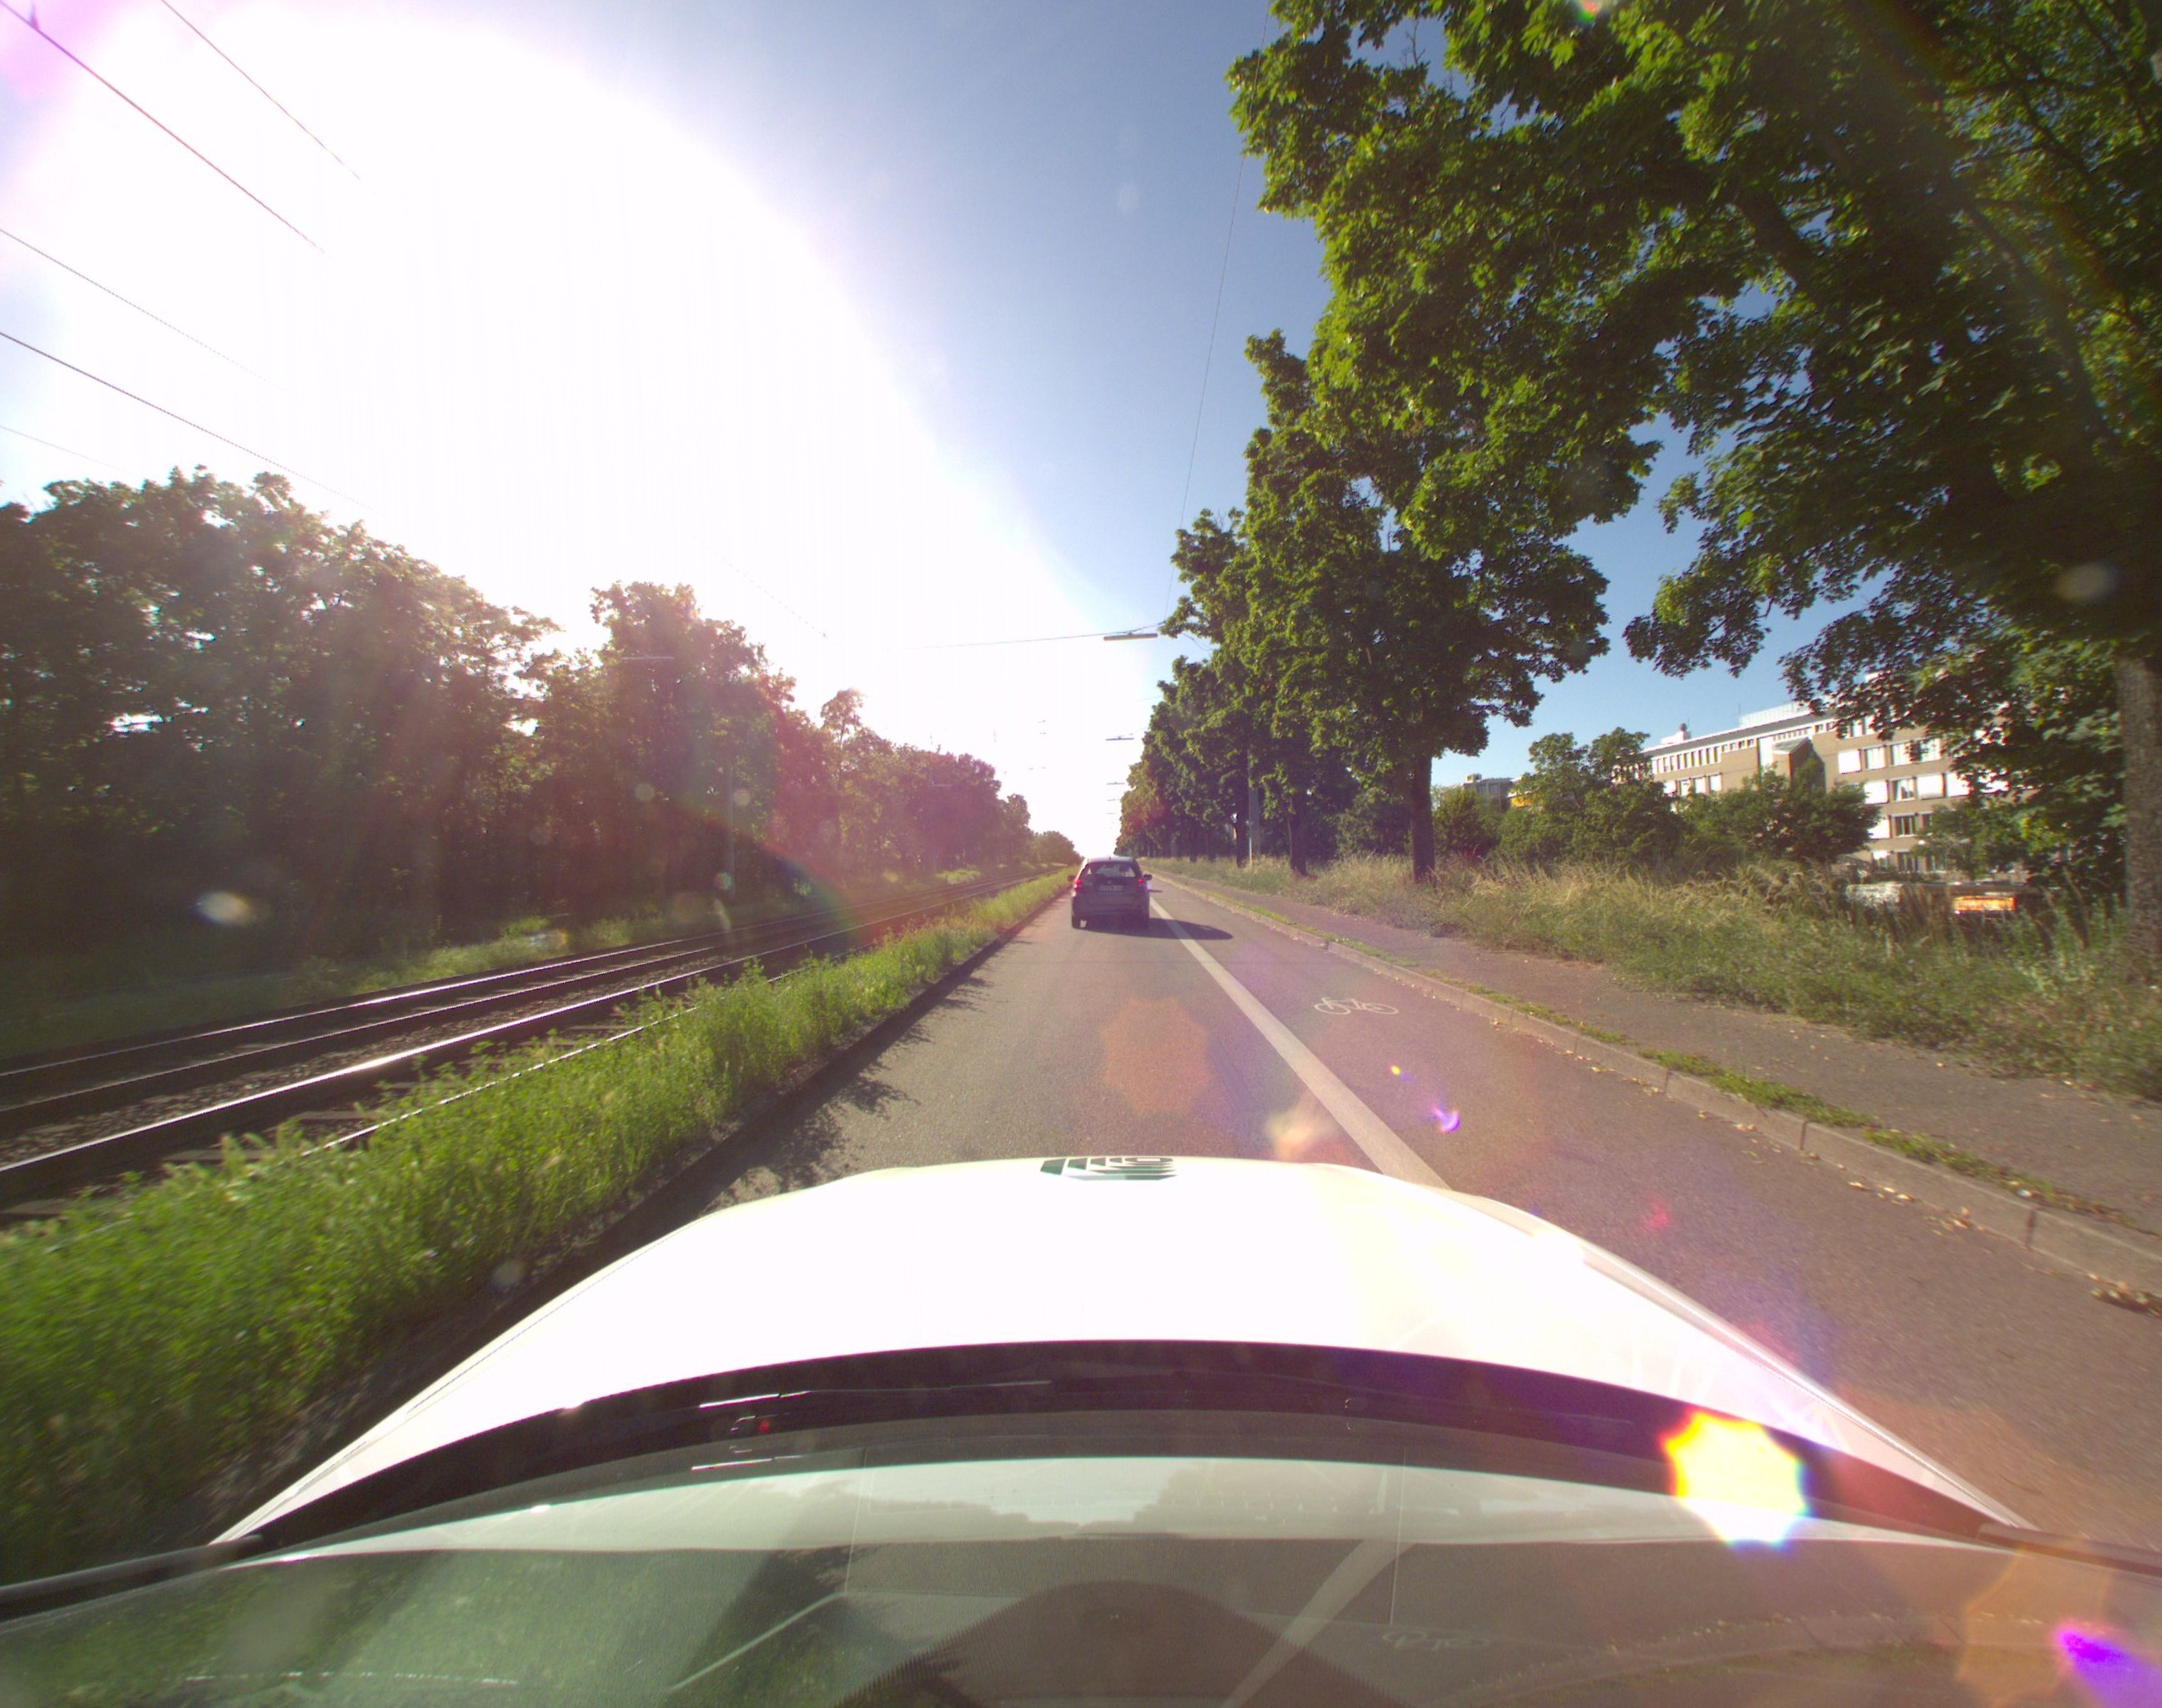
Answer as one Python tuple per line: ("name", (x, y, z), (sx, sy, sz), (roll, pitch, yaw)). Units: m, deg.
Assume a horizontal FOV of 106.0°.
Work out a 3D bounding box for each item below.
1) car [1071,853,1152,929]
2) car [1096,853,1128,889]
("car", (0.649, 0.759, 18.540), (1.665, 1.515, 3.674), (0, 0, 1))
("car", (1.448, 0.784, 37.676), (1.346, 1.528, 3.125), (-2, -1, 3))
